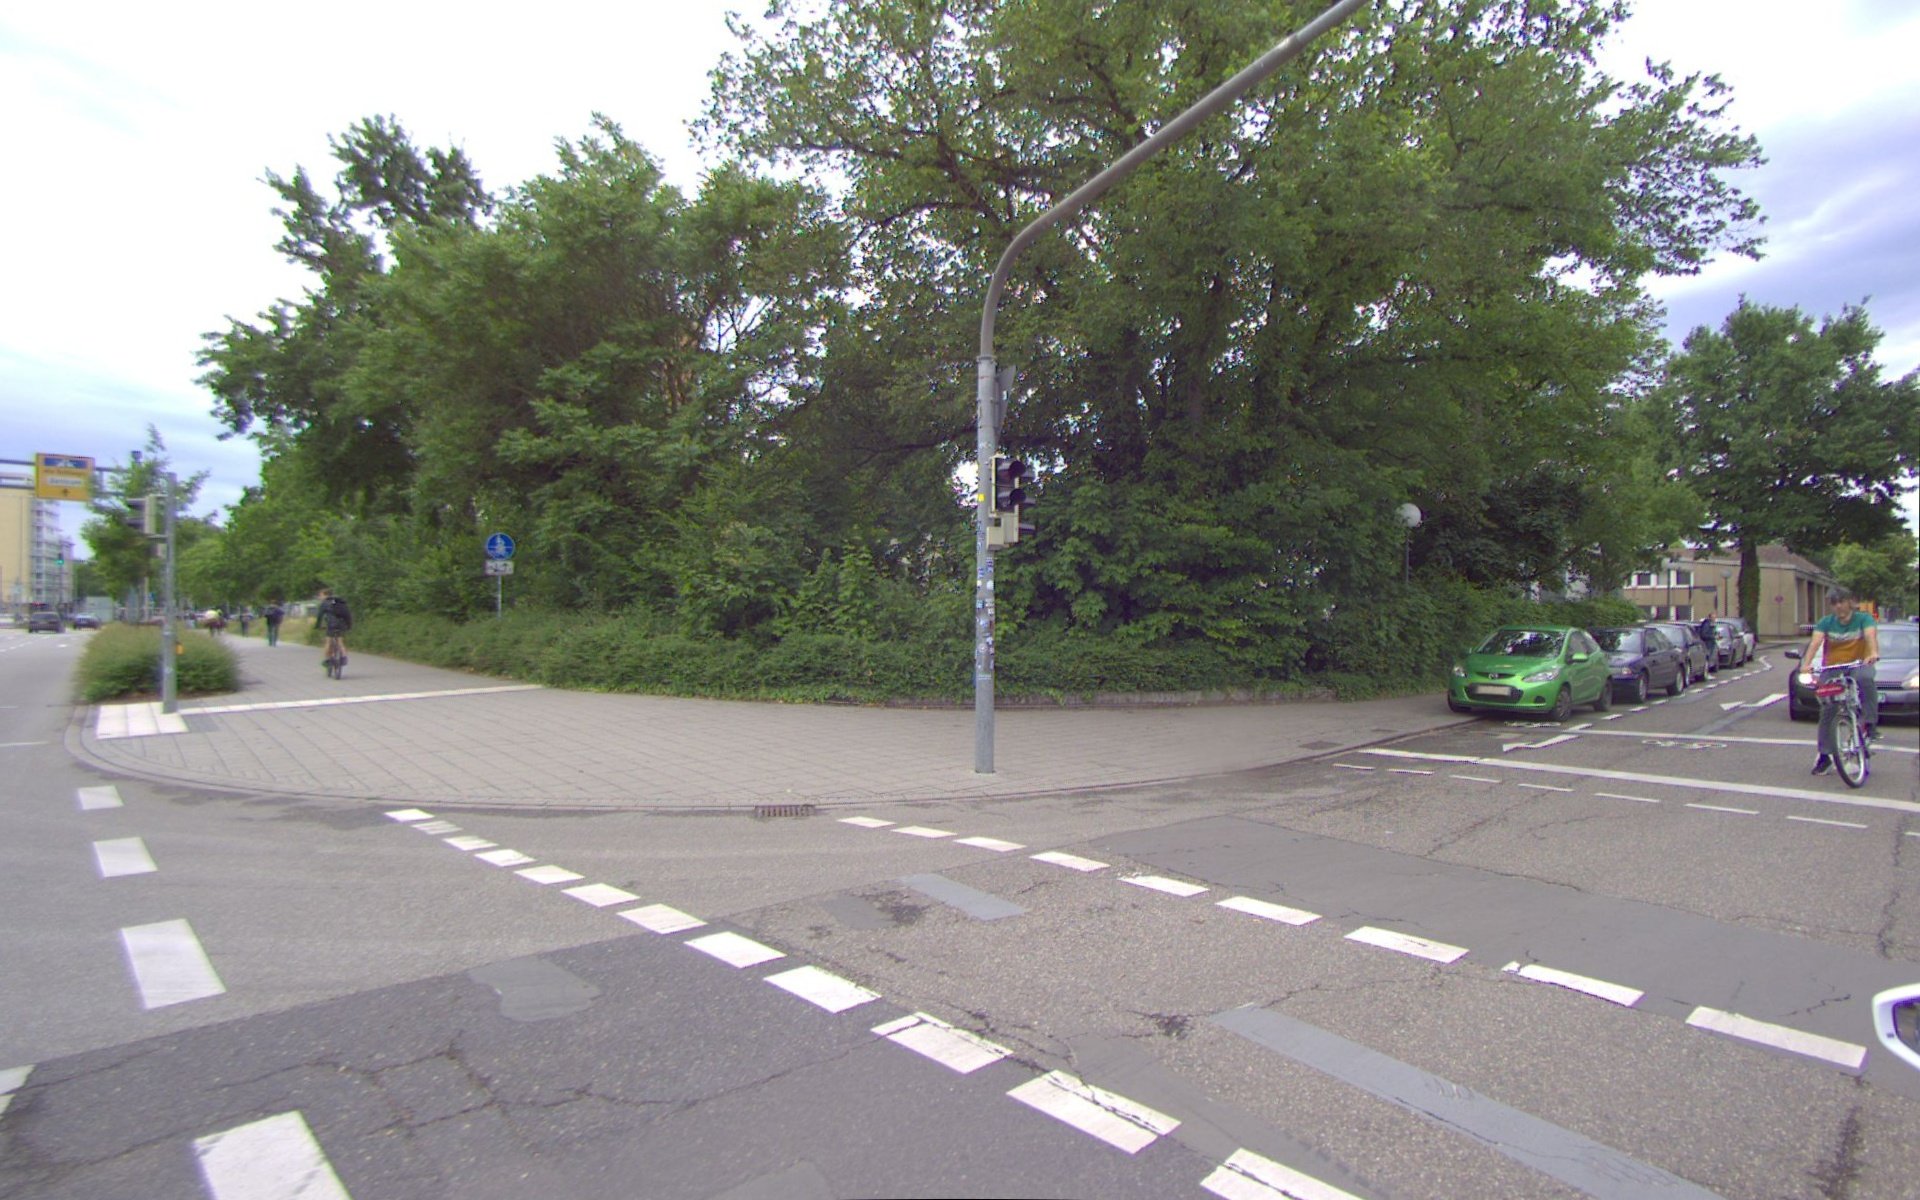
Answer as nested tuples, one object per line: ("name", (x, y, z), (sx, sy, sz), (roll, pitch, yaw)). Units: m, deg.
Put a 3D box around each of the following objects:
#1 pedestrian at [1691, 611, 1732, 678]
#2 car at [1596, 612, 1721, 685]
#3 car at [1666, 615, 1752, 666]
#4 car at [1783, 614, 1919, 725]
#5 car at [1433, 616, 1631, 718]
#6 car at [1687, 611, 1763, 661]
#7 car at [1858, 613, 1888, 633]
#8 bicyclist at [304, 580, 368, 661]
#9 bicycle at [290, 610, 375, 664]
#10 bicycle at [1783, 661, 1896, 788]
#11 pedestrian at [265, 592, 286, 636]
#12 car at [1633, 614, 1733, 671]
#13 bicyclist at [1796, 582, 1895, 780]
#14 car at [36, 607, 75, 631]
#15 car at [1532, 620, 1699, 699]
("pedestrian", (19.579, 1.144, 26.164), (0.731, 1.684, 0.962), (-1, 0, 45))
("car", (17.212, 1.114, 24.661), (1.779, 1.582, 4.501), (0, 0, 45))
("car", (23.614, 1.220, 31.615), (1.744, 1.430, 3.985), (1, 0, 43))
("car", (14.261, 0.998, 15.724), (1.765, 1.517, 4.141), (0, -1, 45))
("car", (9.761, 1.040, 17.002), (4.218, 1.489, 1.780), (1, -1, -43))
("car", (26.947, 1.216, 35.344), (1.698, 1.607, 3.853), (1, 1, 44))
("car", (77.336, 1.910, 85.073), (1.751, 1.622, 3.976), (1, 0, 44))
("bicyclist", (-13.043, 0.413, 20.999), (0.907, 1.630, 0.765), (1, 2, 30))
("bicycle", (-13.136, 0.756, 21.014), (1.832, 1.051, 0.781), (0, 1, 32))
("bicycle", (8.532, 1.150, 9.717), (1.844, 1.051, 0.651), (1, -1, -43))
("pedestrian", (-26.572, 0.531, 39.015), (0.635, 1.687, 0.802), (1, 0, -32))
("car", (20.538, 1.166, 28.485), (1.744, 1.491, 3.800), (0, -1, 45))
("bicyclist", (8.542, 0.744, 9.722), (0.649, 1.803, 0.980), (0, -1, 38))
("car", (-71.933, 1.522, 79.903), (1.982, 1.817, 3.956), (2, -2, -38))
("car", (13.351, 1.133, 20.353), (4.303, 1.427, 1.782), (1, -1, -42))
